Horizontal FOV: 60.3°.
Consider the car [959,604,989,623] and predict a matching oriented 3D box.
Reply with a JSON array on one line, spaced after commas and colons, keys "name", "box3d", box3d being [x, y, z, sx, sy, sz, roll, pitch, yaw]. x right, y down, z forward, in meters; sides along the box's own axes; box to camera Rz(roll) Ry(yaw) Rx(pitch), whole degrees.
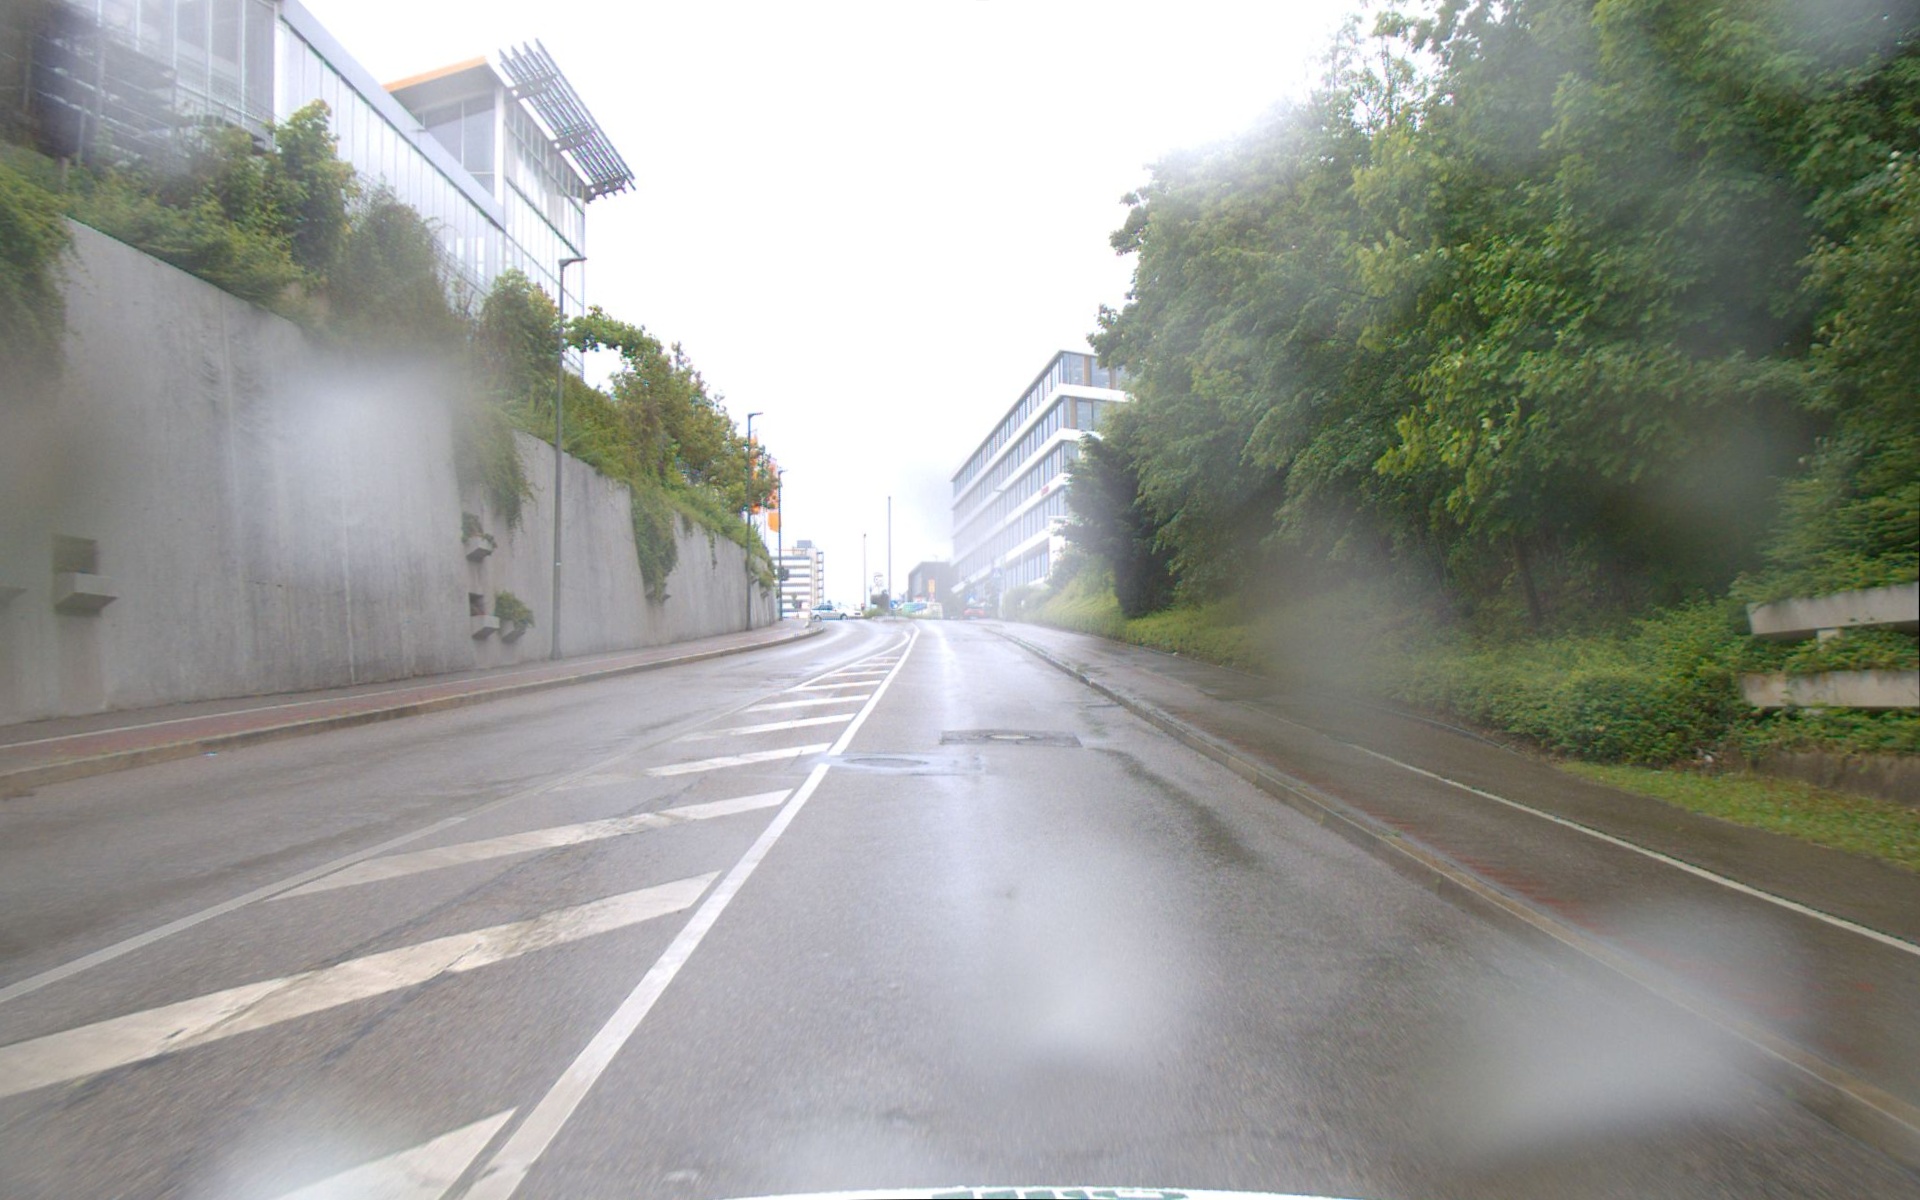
[{"name": "car", "box3d": [1.058, 1.025, 129.277, 1.760, 1.434, 4.209, 0, 0, -7]}]

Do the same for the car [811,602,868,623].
[{"name": "car", "box3d": [-9.031, 0.936, 124.163, 4.166, 1.386, 1.639, 2, -1, 37]}]
